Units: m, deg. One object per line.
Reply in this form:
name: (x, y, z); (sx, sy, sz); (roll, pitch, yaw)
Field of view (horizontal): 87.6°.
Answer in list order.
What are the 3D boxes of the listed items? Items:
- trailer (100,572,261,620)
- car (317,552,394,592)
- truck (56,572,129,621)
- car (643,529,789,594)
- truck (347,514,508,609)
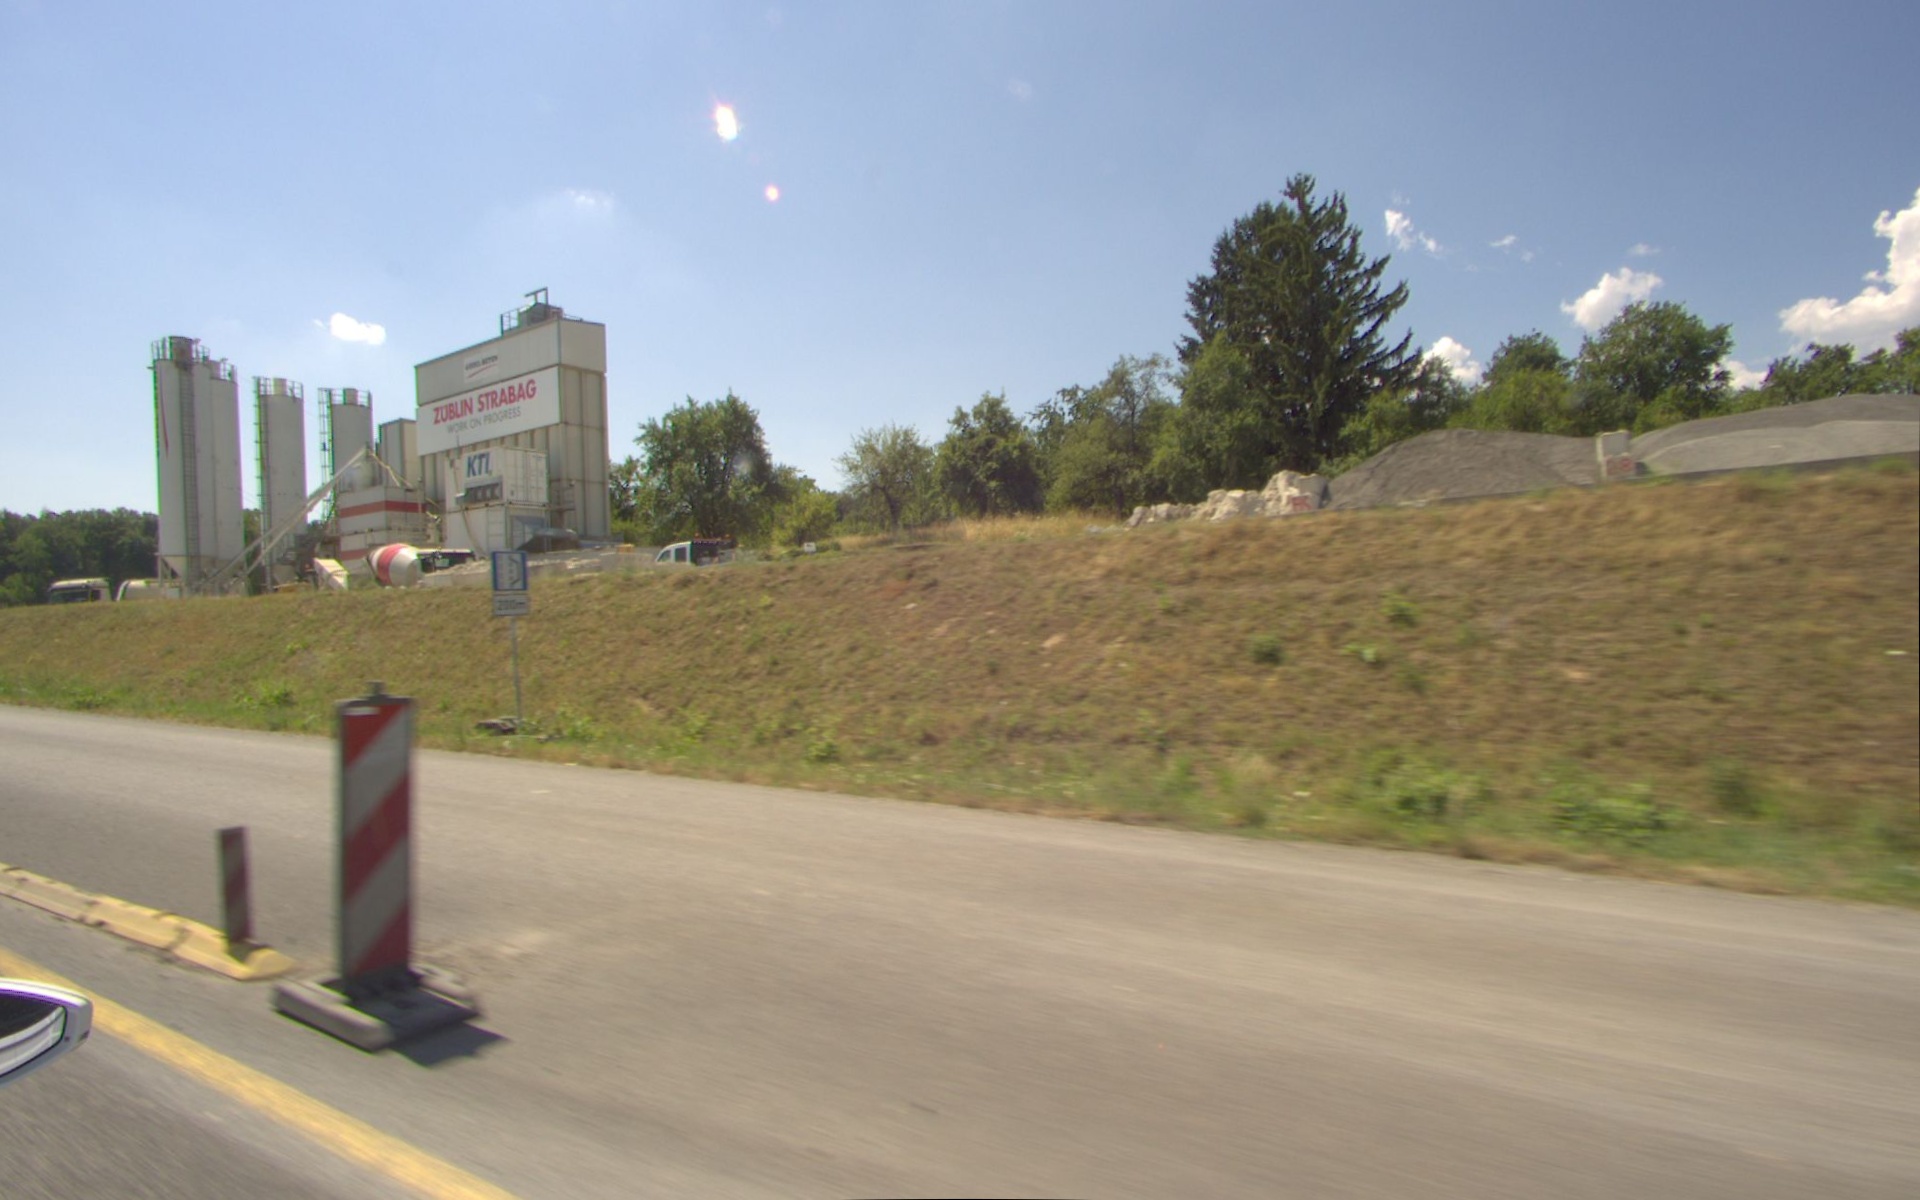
trailer: (-56.509, -0.214, 72.998); (3.271, 3.271, 9.012); (0, -1, 18)
car: (-34.102, -1.541, 56.451); (4.364, 2.040, 1.989); (-1, 0, 32)
truck: (-58.127, -0.166, 67.234); (2.866, 3.153, 5.975); (0, 0, -33)
car: (-8.633, -1.280, 35.355); (4.921, 2.040, 2.219); (-1, 0, 32)
truck: (-27.395, -1.764, 51.303); (9.798, 4.353, 3.424); (-1, 0, 37)
